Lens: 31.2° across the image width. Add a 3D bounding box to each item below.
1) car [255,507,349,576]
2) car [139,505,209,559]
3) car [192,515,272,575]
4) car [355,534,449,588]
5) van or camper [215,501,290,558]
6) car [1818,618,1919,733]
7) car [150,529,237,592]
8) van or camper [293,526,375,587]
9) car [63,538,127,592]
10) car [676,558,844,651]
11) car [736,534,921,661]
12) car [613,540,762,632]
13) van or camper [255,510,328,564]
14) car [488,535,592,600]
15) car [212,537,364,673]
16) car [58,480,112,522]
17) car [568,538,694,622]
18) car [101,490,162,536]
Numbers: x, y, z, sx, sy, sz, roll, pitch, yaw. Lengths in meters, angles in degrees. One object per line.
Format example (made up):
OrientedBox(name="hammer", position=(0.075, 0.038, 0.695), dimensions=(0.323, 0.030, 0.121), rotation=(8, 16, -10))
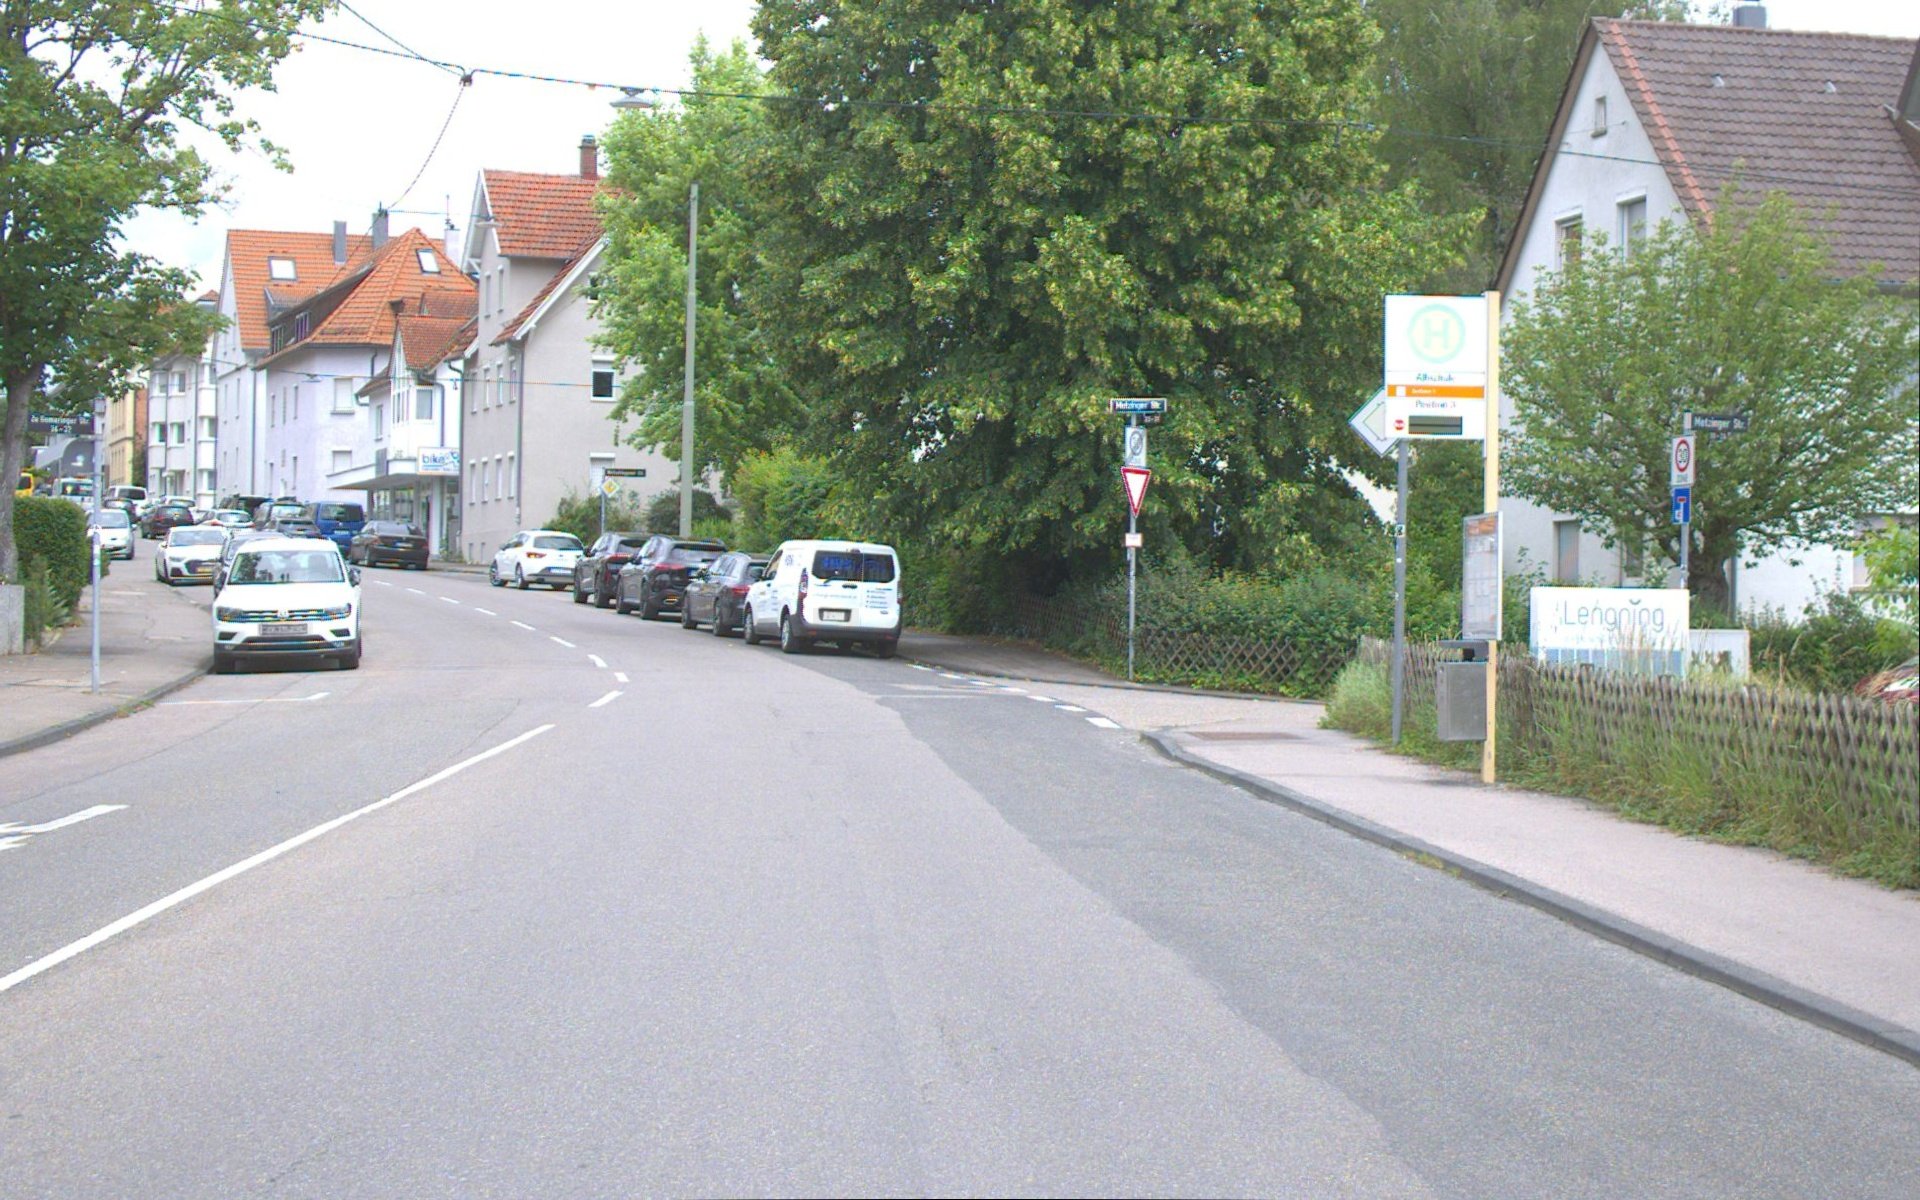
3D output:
OrientedBox(name="car", position=(-20.616, -1.834, 107.585), dimensions=(2.151, 2.007, 4.001), rotation=(3, 1, -21))
OrientedBox(name="car", position=(-31.634, -2.746, 138.342), dimensions=(2.151, 2.007, 4.001), rotation=(3, 1, -21))
OrientedBox(name="car", position=(-26.051, -1.984, 122.936), dimensions=(2.151, 2.007, 4.001), rotation=(3, 1, -21))
OrientedBox(name="car", position=(-17.575, -1.245, 108.128), dimensions=(1.993, 1.512, 4.893), rotation=(3, 1, -20))
OrientedBox(name="van or camper", position=(-28.281, -2.843, 137.231), dimensions=(1.993, 2.058, 5.947), rotation=(4, 1, -20))
OrientedBox(name="car", position=(14.244, 1.132, 48.657), dimensions=(3.696, 1.558, 1.688), rotation=(3, -2, -18))
OrientedBox(name="car", position=(-18.948, -0.997, 84.929), dimensions=(1.725, 1.453, 3.900), rotation=(-2, 2, -17))
OrientedBox(name="van or camper", position=(-21.655, -1.523, 118.805), dimensions=(1.926, 1.919, 4.832), rotation=(2, 1, -20))
OrientedBox(name="car", position=(-27.400, -1.137, 108.955), dimensions=(1.833, 1.572, 4.033), rotation=(-2, 2, -13))
OrientedBox(name="car", position=(-3.546, 0.052, 60.138), dimensions=(1.993, 1.473, 4.621), rotation=(1, 1, -15))
OrientedBox(name="car", position=(-2.155, -0.076, 55.081), dimensions=(1.837, 1.768, 4.319), rotation=(4, 1, -17))
OrientedBox(name="car", position=(-5.338, -0.302, 66.888), dimensions=(1.993, 1.610, 4.541), rotation=(3, 0, -15))
OrientedBox(name="van or camper", position=(-25.338, -2.399, 130.146), dimensions=(1.870, 1.822, 4.682), rotation=(4, 1, -20))
OrientedBox(name="car", position=(-10.272, -0.807, 83.885), dimensions=(1.940, 1.434, 4.002), rotation=(2, 1, -15))
OrientedBox(name="car", position=(-8.875, 0.018, 45.653), dimensions=(1.849, 1.708, 4.576), rotation=(0, 1, -10))
OrientedBox(name="car", position=(-44.512, -5.026, 174.880), dimensions=(2.151, 2.007, 4.001), rotation=(3, 1, -21))
OrientedBox(name="car", position=(-6.975, -0.452, 72.505), dimensions=(1.810, 1.610, 4.541), rotation=(3, 0, -15))
OrientedBox(name="car", position=(-38.024, -3.994, 157.648), dimensions=(2.151, 2.007, 4.001), rotation=(3, 1, -21))
